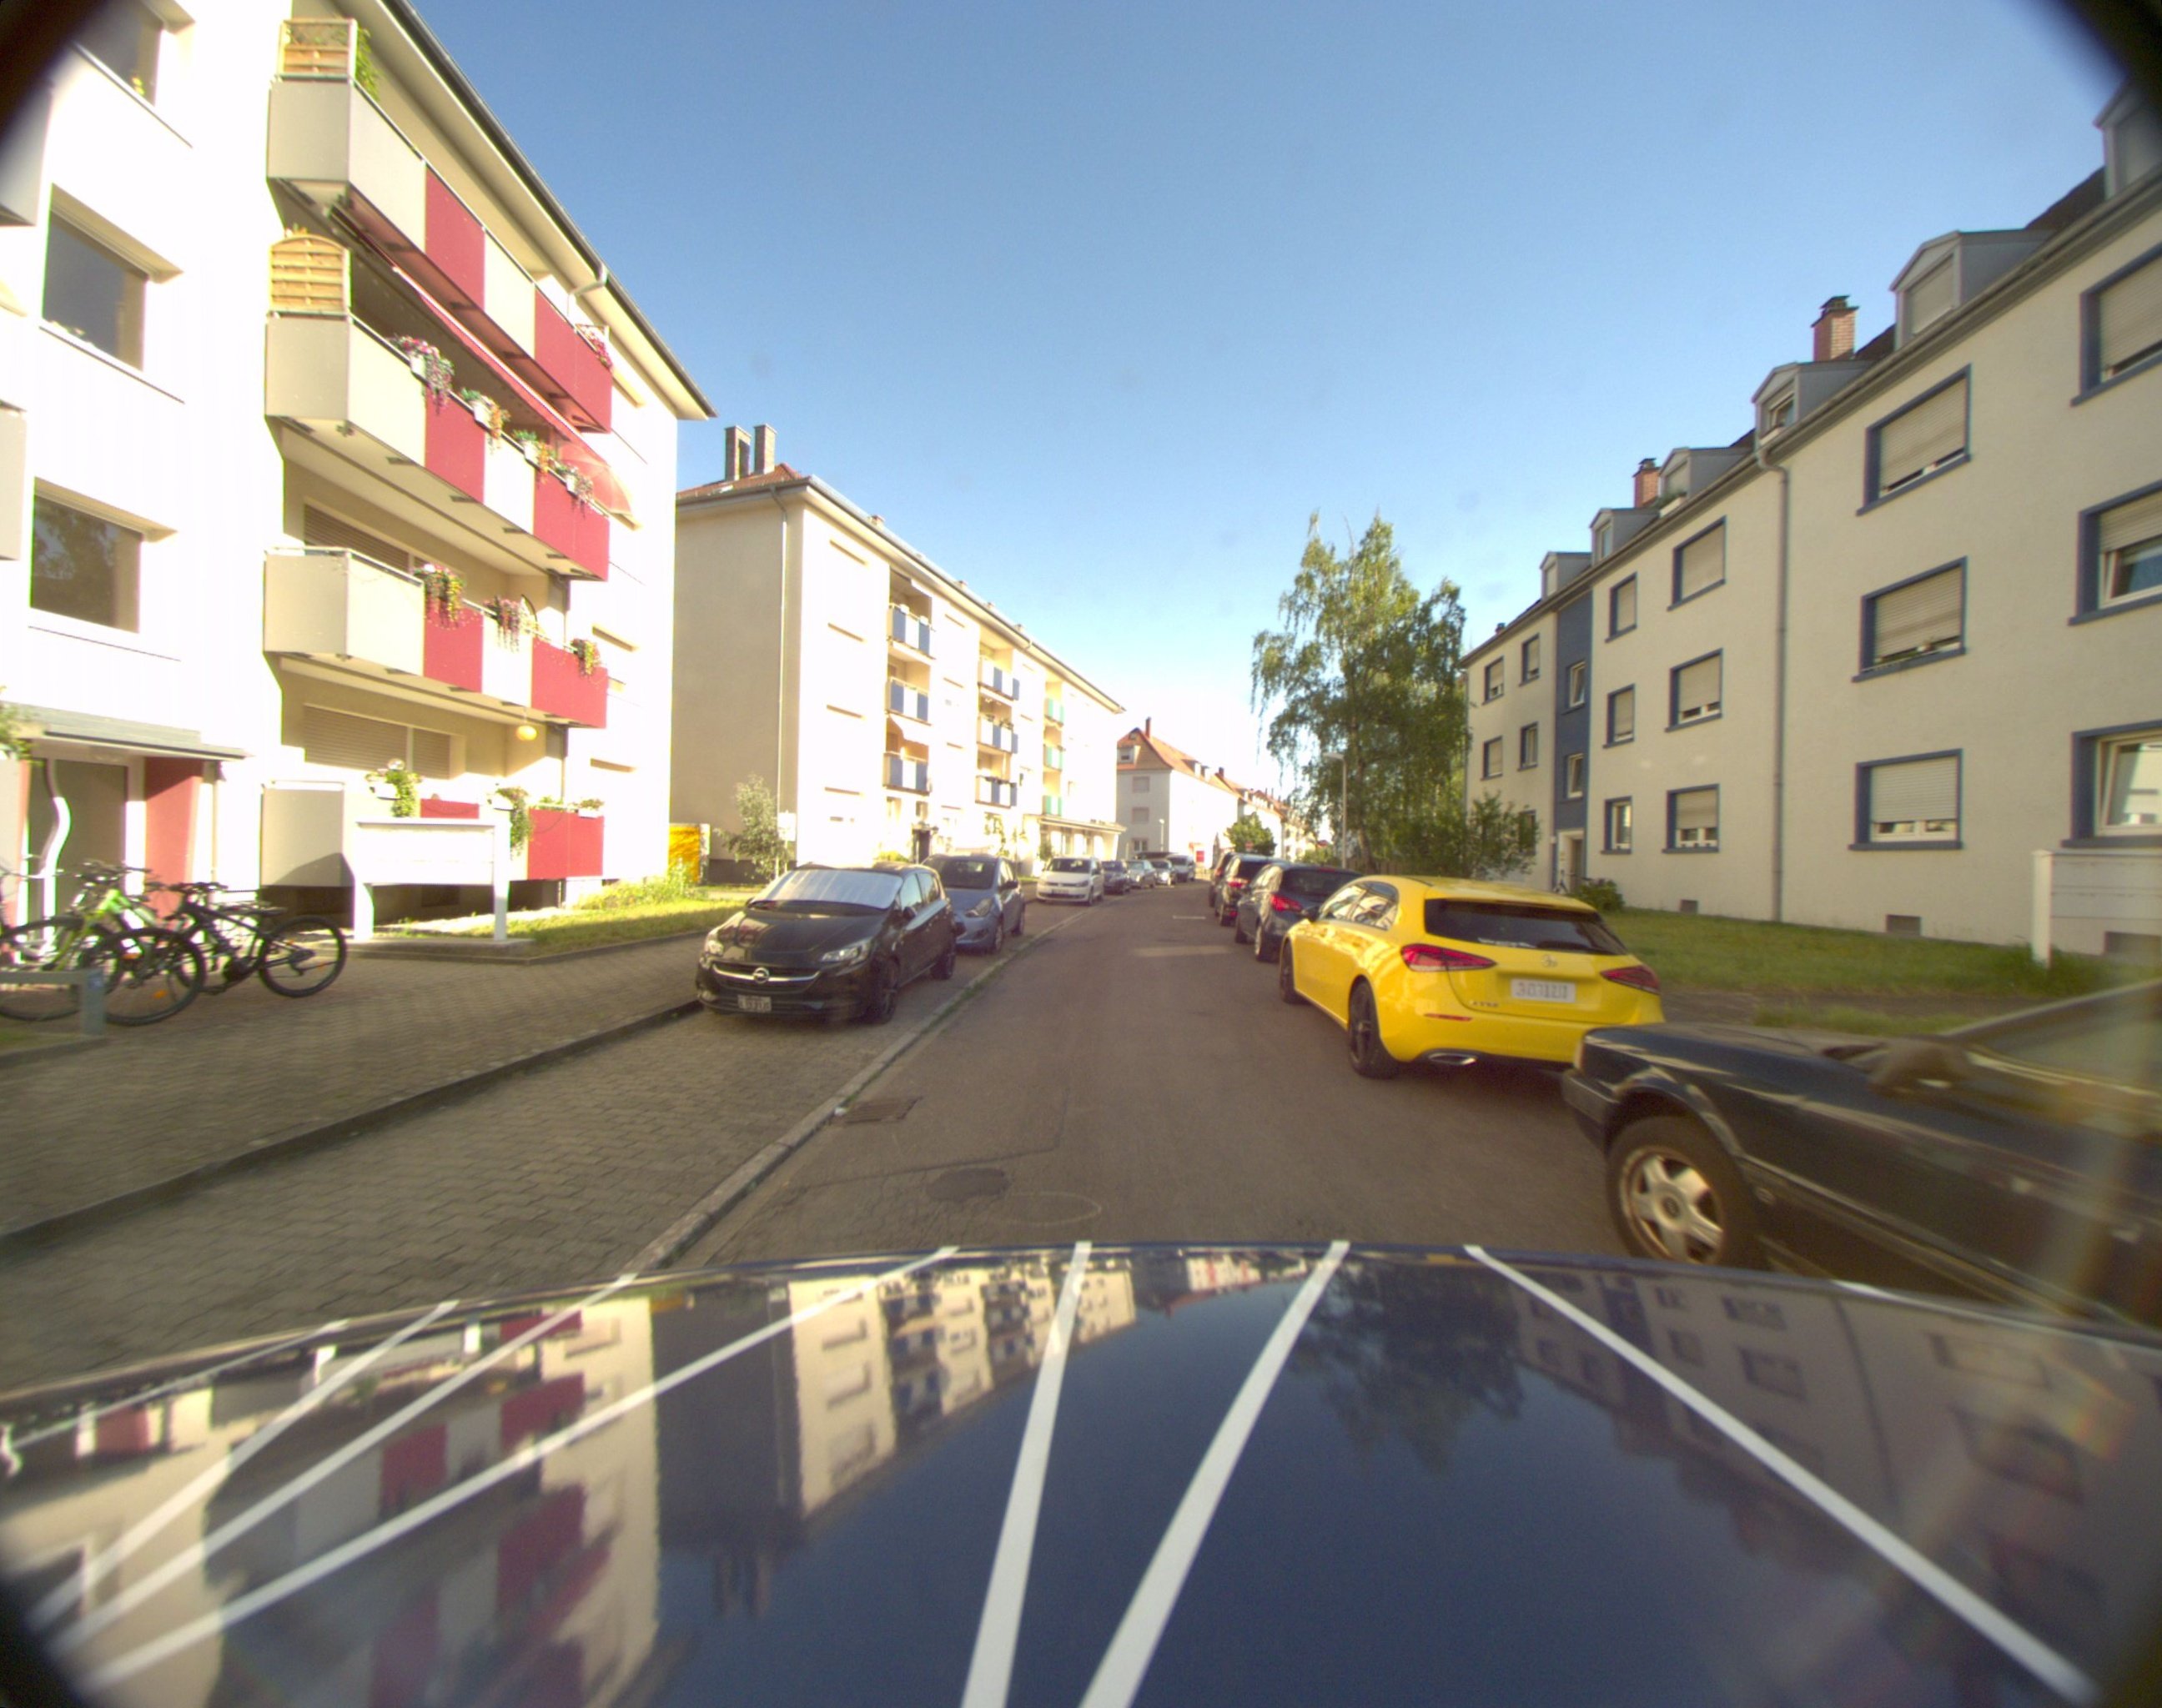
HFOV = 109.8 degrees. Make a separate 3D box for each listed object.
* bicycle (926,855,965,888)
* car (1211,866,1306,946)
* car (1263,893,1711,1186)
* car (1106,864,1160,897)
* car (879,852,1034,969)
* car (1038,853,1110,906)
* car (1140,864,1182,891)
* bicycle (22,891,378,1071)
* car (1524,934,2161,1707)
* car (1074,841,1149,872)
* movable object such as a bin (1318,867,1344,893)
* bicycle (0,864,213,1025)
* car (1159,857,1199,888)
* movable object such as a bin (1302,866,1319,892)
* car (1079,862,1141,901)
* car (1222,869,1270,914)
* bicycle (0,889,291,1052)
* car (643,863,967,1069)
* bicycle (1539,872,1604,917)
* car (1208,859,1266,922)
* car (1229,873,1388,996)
[{"bbox_3d":[-5.122,0.661,28.841,0.515,1.196,1.836,4,1,21],"label":"bicycle"},{"bbox_3d":[4.035,1.098,17.862,1.697,1.551,4.159,2,0,7],"label":"car"},{"bbox_3d":[2.781,1.147,6.378,1.697,1.381,4.158,3,0,4],"label":"car"},{"bbox_3d":[2.693,1.281,38.314,1.680,1.438,4.730,0,0,17],"label":"car"},{"bbox_3d":[-2.015,0.844,13.475,1.769,1.626,4.041,2,1,4],"label":"car"},{"bbox_3d":[-0.146,0.827,26.136,1.696,1.646,4.394,1,0,10],"label":"car"},{"bbox_3d":[4.750,1.341,44.498,1.680,1.399,4.551,0,0,16],"label":"car"},{"bbox_3d":[-6.436,0.852,5.734,0.499,1.014,1.841,3,1,1],"label":"bicycle"},{"bbox_3d":[2.784,1.112,1.183,1.573,1.456,4.261,3,0,-1],"label":"car"},{"bbox_3d":[2.555,0.177,64.168,5.947,2.530,2.003,1,-1,18],"label":"car"},{"bbox_3d":[13.768,1.421,41.842,1.220,1.372,0.768,1,0,25],"label":"movable object such as a bin"},{"bbox_3d":[-8.155,0.681,6.058,0.408,1.144,1.762,3,1,0],"label":"bicycle"},{"bbox_3d":[6.434,1.166,49.739,1.748,1.813,4.137,3,1,18],"label":"car"},{"bbox_3d":[12.976,1.410,42.993,0.776,1.384,1.419,2,1,21],"label":"movable object such as a bin"},{"bbox_3d":[1.342,1.118,32.671,1.696,1.423,4.692,1,1,14],"label":"car"},{"bbox_3d":[6.465,1.394,29.535,1.557,1.434,3.972,5,1,14],"label":"car"},{"bbox_3d":[-7.254,0.792,5.677,0.619,0.972,1.896,5,-1,1],"label":"bicycle"},{"bbox_3d":[-2.546,0.926,8.109,1.739,1.499,3.886,4,0,4],"label":"car"},{"bbox_3d":[13.231,1.083,20.509,1.411,1.145,0.415,2,1,5],"label":"bicycle"},{"bbox_3d":[4.961,1.100,24.642,1.558,1.704,4.340,4,1,9],"label":"car"},{"bbox_3d":[3.440,1.131,12.221,1.697,1.436,4.022,3,1,7],"label":"car"}]
